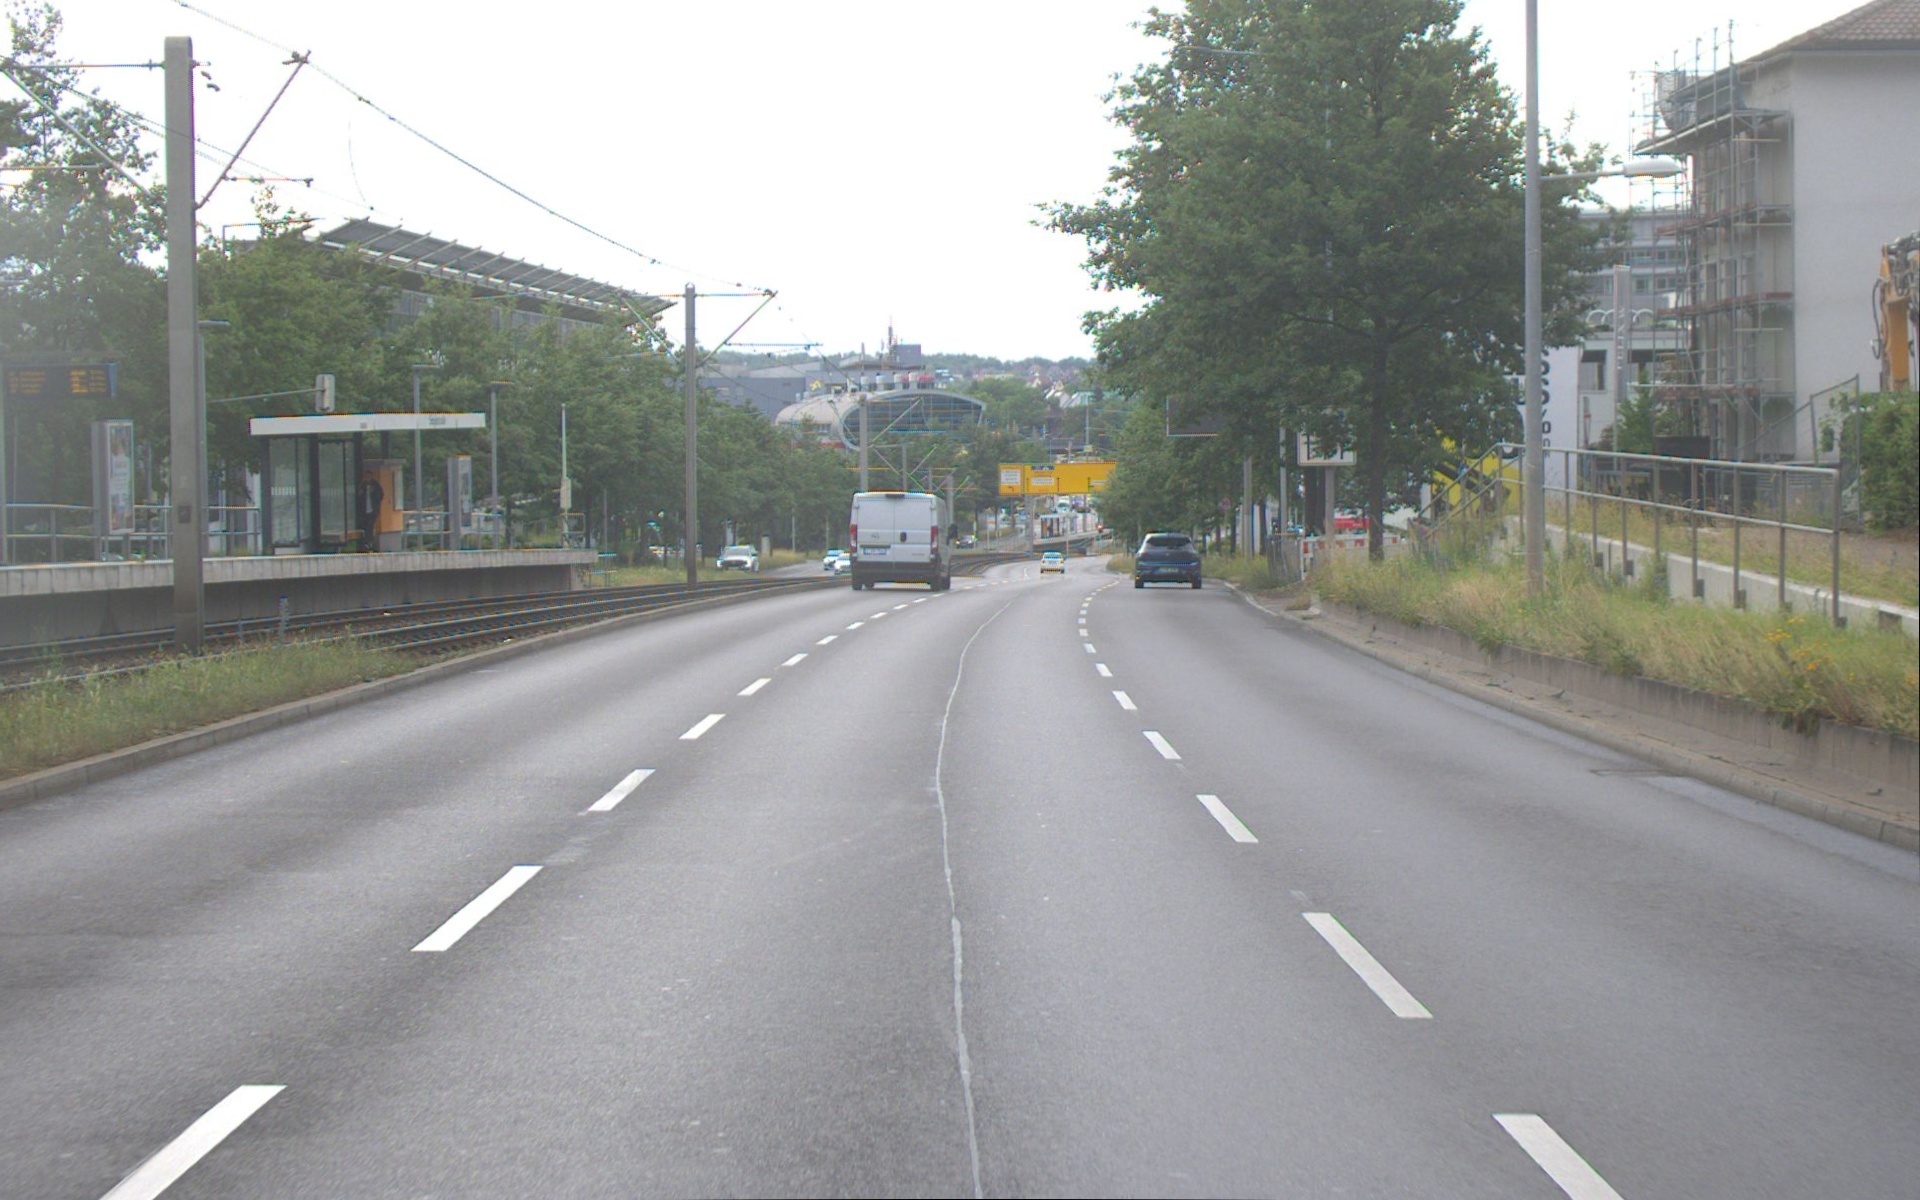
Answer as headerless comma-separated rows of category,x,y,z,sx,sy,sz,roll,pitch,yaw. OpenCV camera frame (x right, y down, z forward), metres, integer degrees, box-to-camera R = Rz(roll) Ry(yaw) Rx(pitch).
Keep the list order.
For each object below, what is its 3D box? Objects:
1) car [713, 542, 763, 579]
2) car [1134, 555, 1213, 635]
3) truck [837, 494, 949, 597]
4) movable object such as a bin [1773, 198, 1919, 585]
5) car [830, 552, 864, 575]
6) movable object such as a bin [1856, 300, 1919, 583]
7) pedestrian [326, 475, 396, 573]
car,-11.569,-2.061,179.494,1.994,1.840,5.001,-1,1,3
car,5.624,-0.150,90.823,1.994,2.007,3.934,1,0,3
truck,-1.513,-1.249,80.082,2.360,2.254,5.305,1,0,1
movable object such as a bin,15.541,-3.077,54.909,3.290,5.665,8.763,1,0,3
car,-7.485,-2.410,228.446,1.837,1.439,4.428,-2,1,3
movable object such as a bin,23.716,-3.032,65.683,12.141,5.243,3.789,-1,0,1
pedestrian,-12.549,-1.575,72.045,1.266,2.007,1.130,1,0,-3
